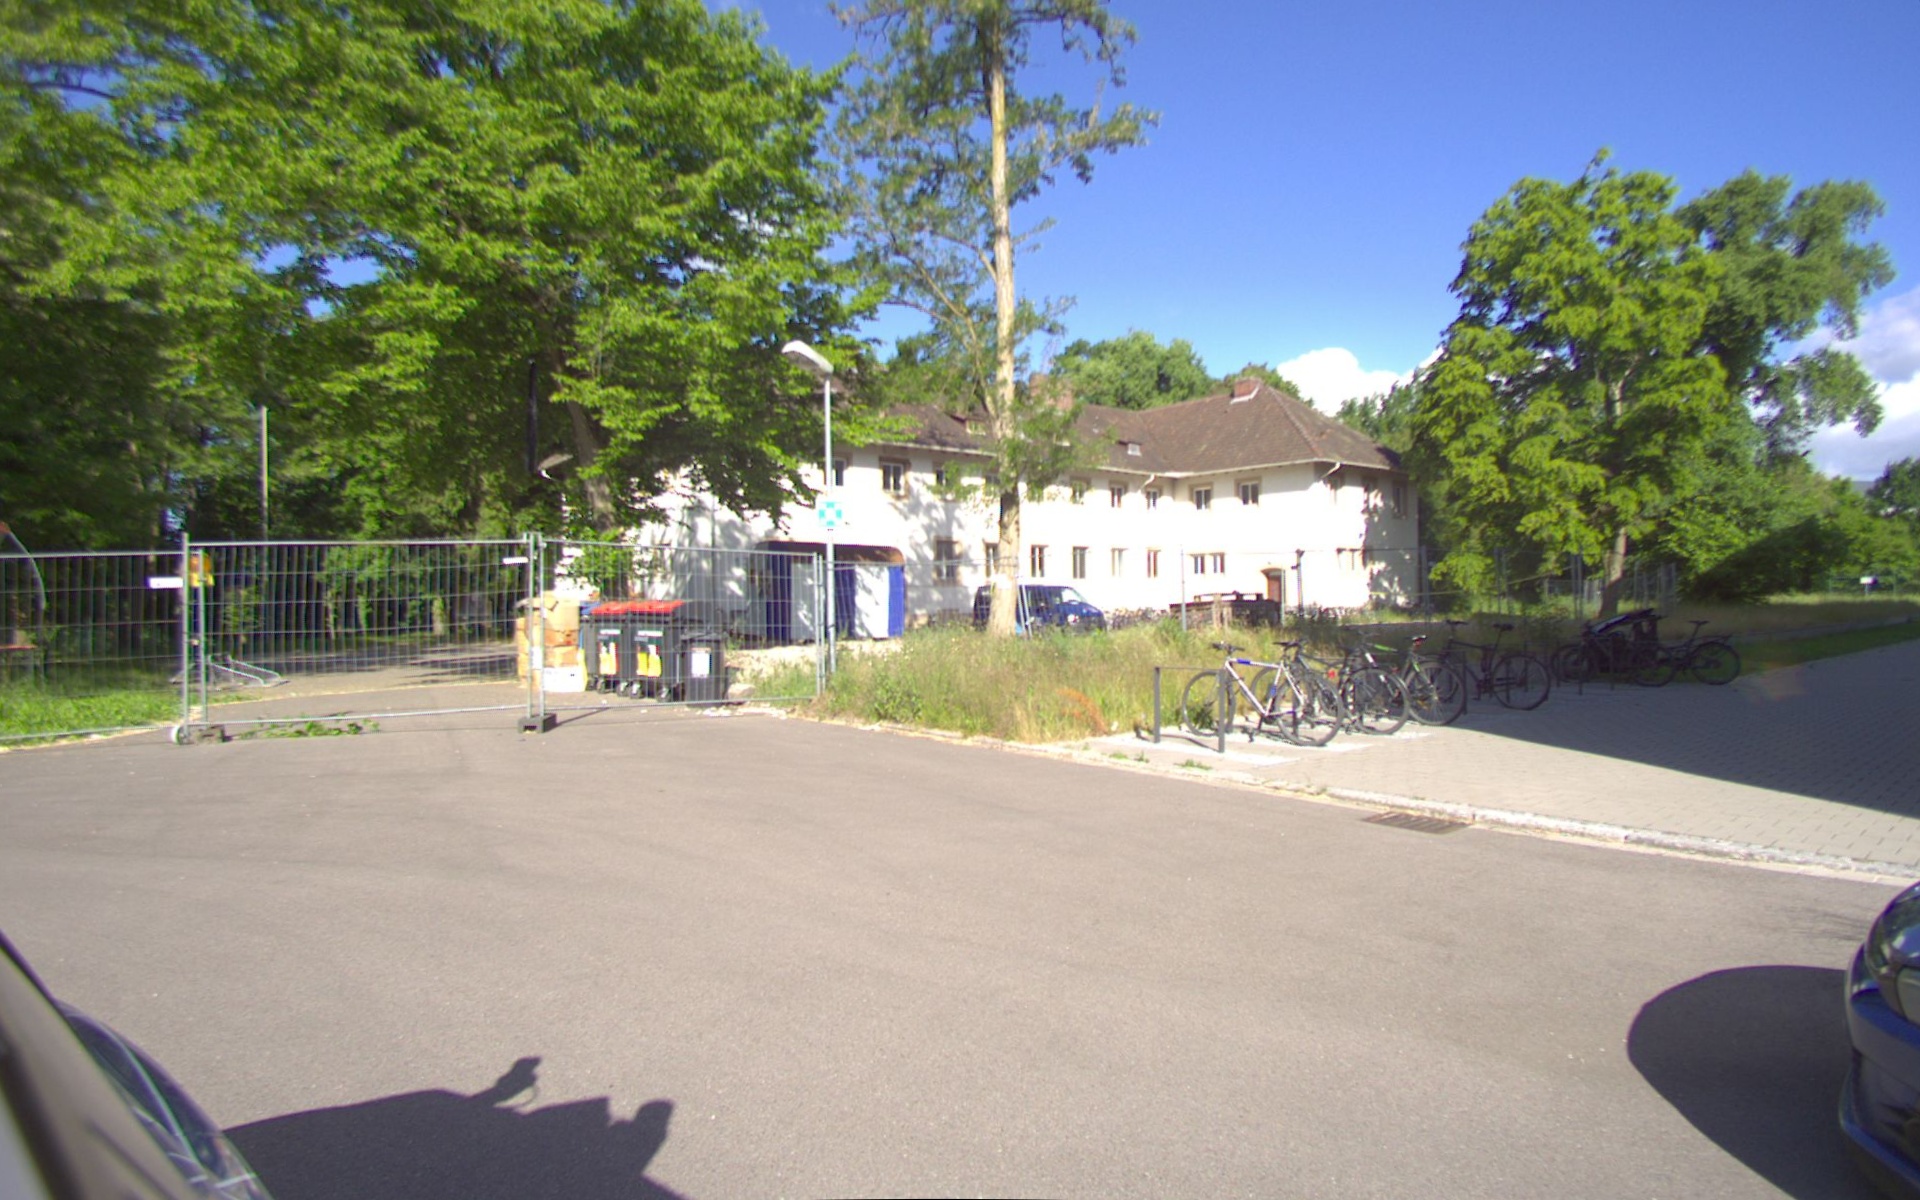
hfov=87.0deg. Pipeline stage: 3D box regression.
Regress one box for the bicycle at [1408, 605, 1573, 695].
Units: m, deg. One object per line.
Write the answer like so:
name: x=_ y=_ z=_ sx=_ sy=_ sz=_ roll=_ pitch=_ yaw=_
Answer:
bicycle: x=6.924 y=0.631 z=13.278 sx=1.836 sy=1.097 sz=0.475 roll=-1 pitch=1 yaw=44

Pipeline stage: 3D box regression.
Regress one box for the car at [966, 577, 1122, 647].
car: x=2.608 y=0.301 z=32.324 sx=2.028 sy=2.027 sz=4.881 roll=-3 pitch=3 yaw=-43

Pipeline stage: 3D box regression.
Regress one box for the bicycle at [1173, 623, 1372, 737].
bicycle: x=3.029 y=0.742 z=9.951 sx=1.836 sy=0.995 sz=0.475 roll=-1 pitch=1 yaw=44

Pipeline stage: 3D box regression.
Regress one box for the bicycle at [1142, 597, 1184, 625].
bicycle: x=8.915 y=0.470 z=44.534 sx=0.746 sy=1.141 sz=1.834 roll=-2 pitch=3 yaw=-35

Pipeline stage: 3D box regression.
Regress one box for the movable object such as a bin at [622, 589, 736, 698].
movable object such as a bin: x=-4.048 y=0.585 z=14.561 sx=1.231 sy=1.443 sz=1.077 roll=0 pitch=2 yaw=44

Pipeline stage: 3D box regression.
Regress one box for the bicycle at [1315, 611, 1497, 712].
bicycle: x=5.021 y=0.667 z=11.489 sx=1.832 sy=1.045 sz=0.475 roll=-1 pitch=1 yaw=44

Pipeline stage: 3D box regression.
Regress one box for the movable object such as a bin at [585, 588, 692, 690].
movable object such as a bin: x=-4.940 y=0.567 z=15.556 sx=1.231 sy=1.450 sz=1.077 roll=0 pitch=2 yaw=44

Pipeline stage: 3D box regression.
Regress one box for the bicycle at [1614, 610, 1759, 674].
bicycle: x=11.669 y=0.655 z=16.296 sx=1.836 sy=0.967 sz=0.475 roll=-1 pitch=1 yaw=44

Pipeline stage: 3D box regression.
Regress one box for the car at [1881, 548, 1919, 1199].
car: x=3.698 y=0.544 z=0.912 sx=1.752 sy=1.371 sz=4.059 roll=-2 pitch=0 yaw=-41

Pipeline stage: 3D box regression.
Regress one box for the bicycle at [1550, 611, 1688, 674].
bicycle: x=10.729 y=0.677 z=16.512 sx=1.815 sy=0.967 sz=0.475 roll=-1 pitch=1 yaw=44

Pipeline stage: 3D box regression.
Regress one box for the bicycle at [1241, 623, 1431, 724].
bicycle: x=3.937 y=0.739 z=10.717 sx=1.835 sy=0.967 sz=0.475 roll=-1 pitch=1 yaw=44

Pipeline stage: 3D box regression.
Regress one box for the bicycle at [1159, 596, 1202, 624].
bicycle: x=9.846 y=0.429 z=45.255 sx=0.783 sy=1.141 sz=1.848 roll=-2 pitch=3 yaw=-35

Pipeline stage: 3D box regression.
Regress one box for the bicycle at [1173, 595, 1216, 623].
bicycle: x=10.610 y=0.393 z=45.904 sx=0.783 sy=1.141 sz=1.848 roll=-2 pitch=3 yaw=-35

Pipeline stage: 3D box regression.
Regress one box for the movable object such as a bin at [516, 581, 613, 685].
movable object such as a bin: x=-6.524 y=0.505 z=16.703 sx=1.231 sy=1.609 sz=1.077 roll=1 pitch=2 yaw=44

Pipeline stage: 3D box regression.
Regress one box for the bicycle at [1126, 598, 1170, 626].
bicycle: x=8.159 y=0.503 z=43.972 sx=0.783 sy=1.141 sz=1.826 roll=-2 pitch=3 yaw=-35

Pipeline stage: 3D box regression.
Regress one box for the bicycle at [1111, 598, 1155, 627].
bicycle: x=7.393 y=0.538 z=43.352 sx=0.782 sy=1.141 sz=1.839 roll=-2 pitch=3 yaw=-35

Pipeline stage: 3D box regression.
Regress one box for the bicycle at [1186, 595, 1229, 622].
bicycle: x=11.347 y=0.361 z=46.454 sx=0.783 sy=1.141 sz=1.848 roll=-2 pitch=3 yaw=-35
